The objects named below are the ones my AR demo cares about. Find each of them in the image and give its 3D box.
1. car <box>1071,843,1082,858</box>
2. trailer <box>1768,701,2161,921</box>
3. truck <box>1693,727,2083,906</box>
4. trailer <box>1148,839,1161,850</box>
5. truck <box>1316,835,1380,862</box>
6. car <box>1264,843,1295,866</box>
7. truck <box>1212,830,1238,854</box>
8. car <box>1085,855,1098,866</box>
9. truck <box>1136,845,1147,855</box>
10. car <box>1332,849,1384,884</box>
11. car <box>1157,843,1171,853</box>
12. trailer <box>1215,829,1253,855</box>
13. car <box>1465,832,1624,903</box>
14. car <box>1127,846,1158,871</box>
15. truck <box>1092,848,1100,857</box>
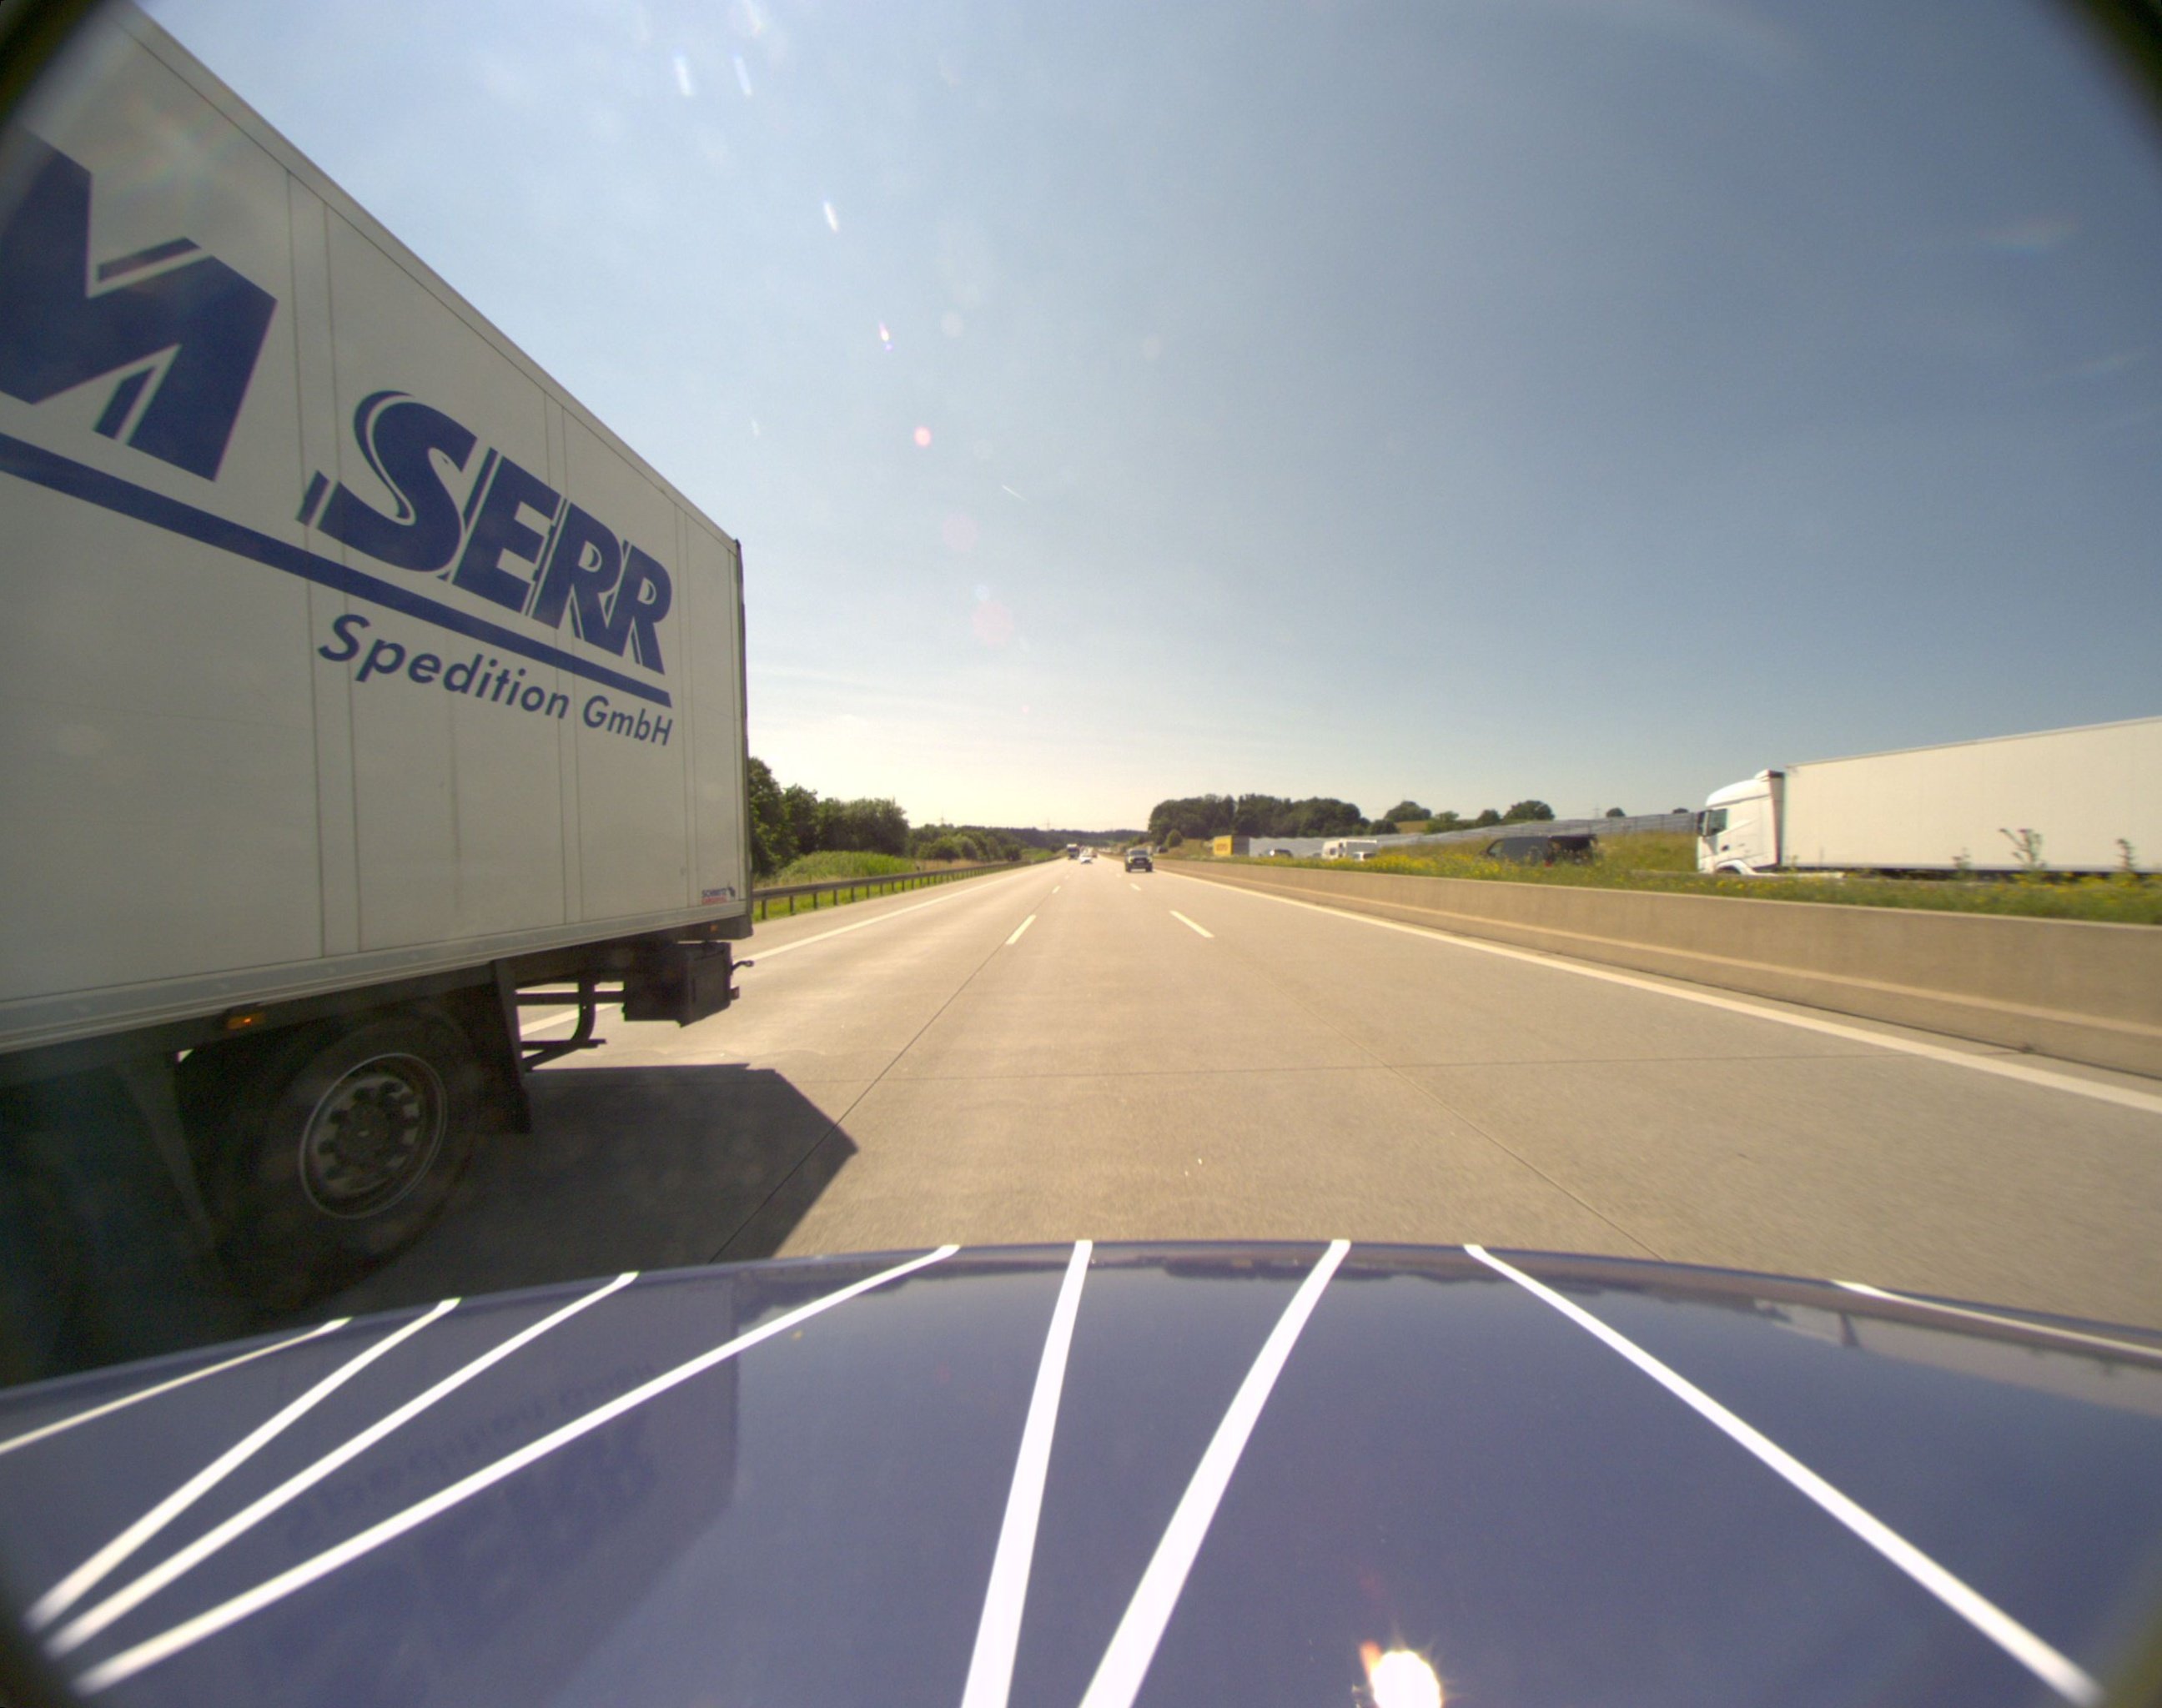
[{"bbox_3d":[-1.241,-0.947,204.711,2.766,4.029,10.852,-1,1,1],"label":"car"},{"bbox_3d":[21.163,-0.846,14.668,3.098,3.981,14.139,-2,1,1],"label":"trailer"},{"bbox_3d":[21.372,-0.906,20.998,3.098,3.981,7.253,-2,1,1],"label":"truck"},{"bbox_3d":[23.600,-3.060,244.665,3.082,3.504,11.762,-2,1,1],"label":"trailer"},{"bbox_3d":[21.527,-0.486,61.621,2.523,2.002,7.629,-2,1,1],"label":"truck"},{"bbox_3d":[13.697,0.029,52.559,1.327,1.523,3.252,-3,0,1],"label":"car"},{"bbox_3d":[22.382,-1.843,118.345,2.930,3.519,6.347,0,1,1],"label":"truck"},{"bbox_3d":[1.611,0.987,119.339,2.065,1.472,5.068,-2,0,0],"label":"car"},{"bbox_3d":[20.191,-1.318,255.264,2.832,3.046,10.374,-2,1,0],"label":"truck"},{"bbox_3d":[16.870,0.728,46.462,1.748,1.932,3.940,-2,1,1],"label":"car"},{"bbox_3d":[14.896,-1.083,136.878,1.998,1.718,5.389,-2,1,1],"label":"car"},{"bbox_3d":[22.273,-1.763,111.634,2.939,3.530,14.018,0,1,1],"label":"trailer"},{"bbox_3d":[14.814,0.384,24.734,2.076,1.960,5.031,-3,0,1],"label":"car"},{"bbox_3d":[4.881,0.307,60.799,1.998,1.836,6.529,-3,1,1],"label":"car"},{"bbox_3d":[4.354,-0.336,218.995,2.262,2.461,6.614,-2,0,1],"label":"truck"}]
